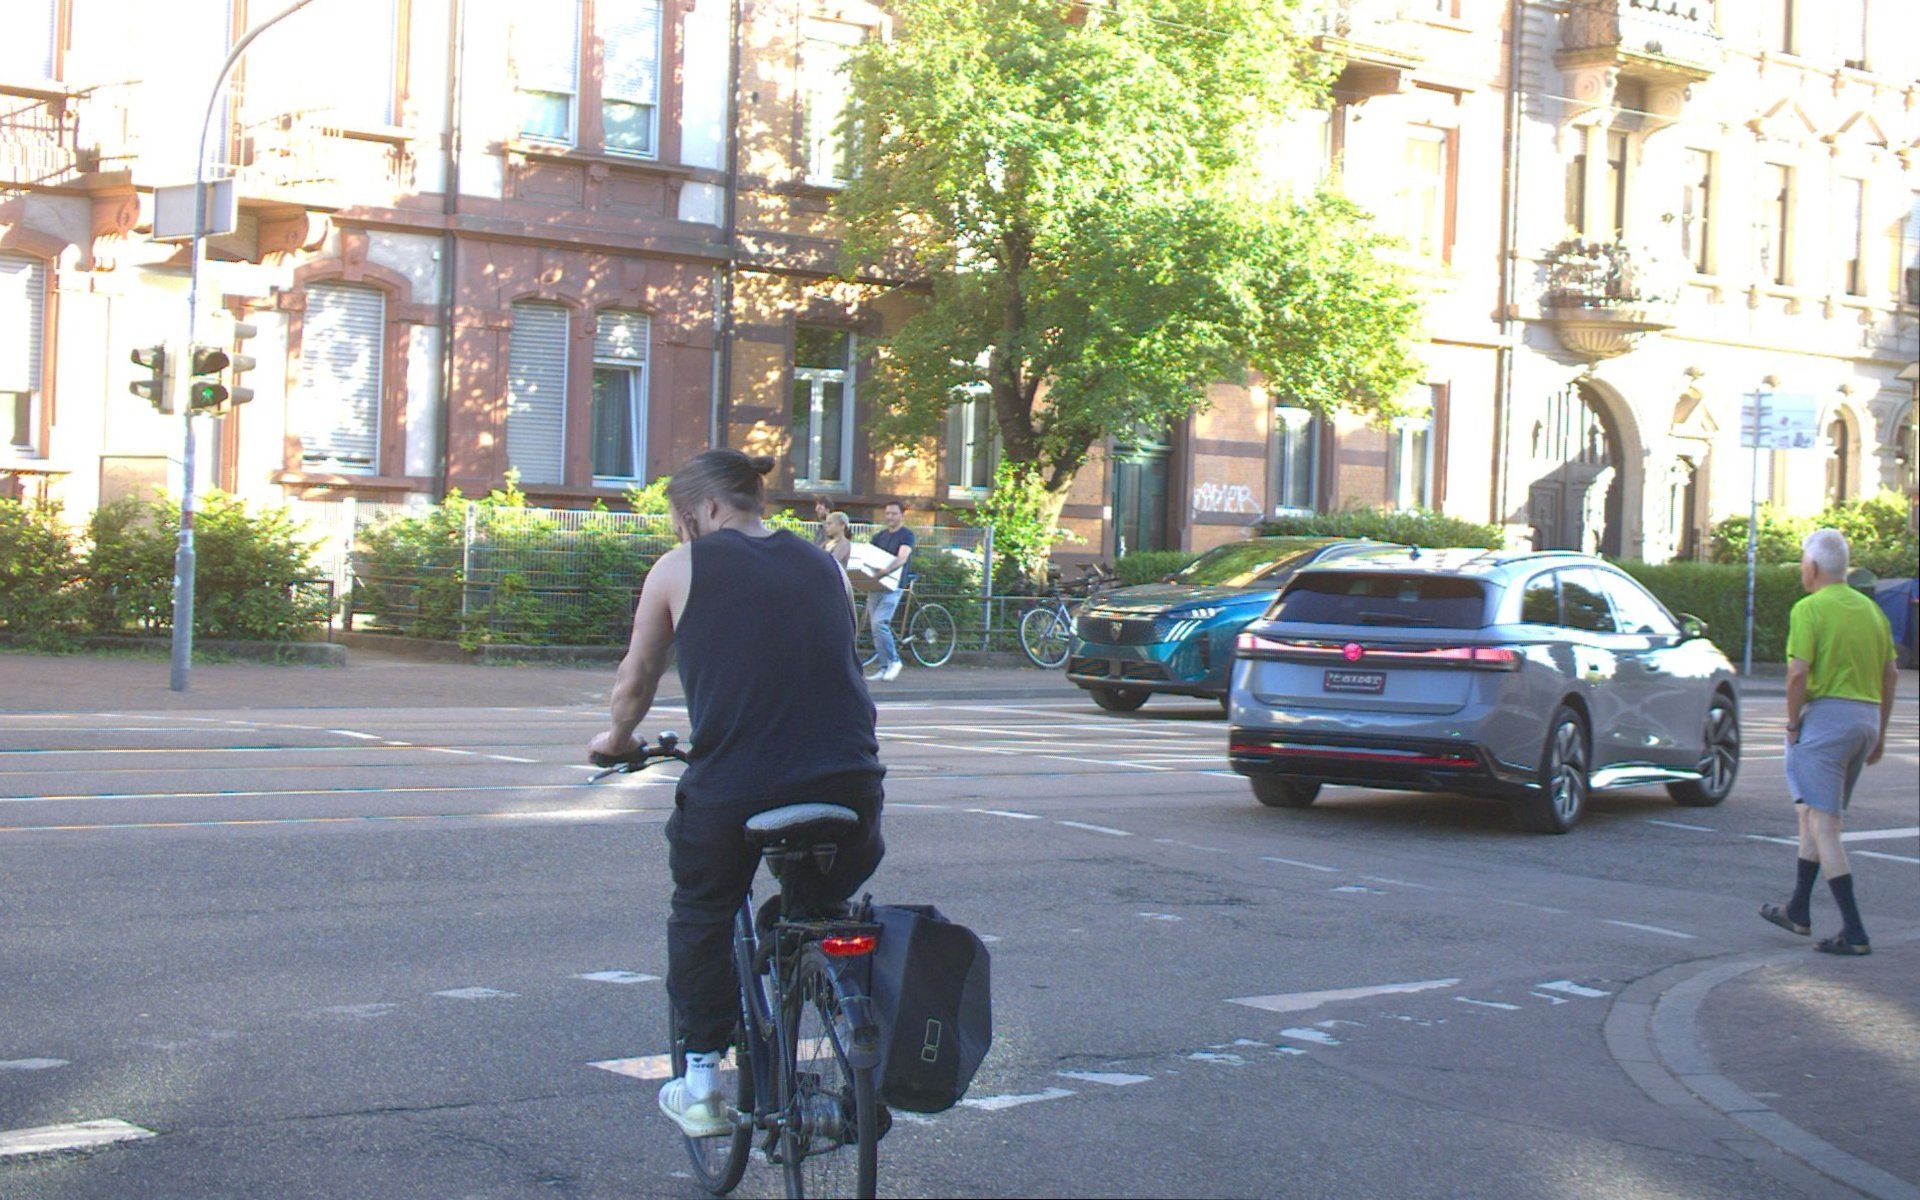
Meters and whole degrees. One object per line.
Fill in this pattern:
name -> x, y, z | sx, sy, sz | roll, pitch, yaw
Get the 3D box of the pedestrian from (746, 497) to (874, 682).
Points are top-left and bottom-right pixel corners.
pedestrian -> -1.416, -0.098, 32.344 | 0.895, 1.659, 0.712 | 2, 4, -26

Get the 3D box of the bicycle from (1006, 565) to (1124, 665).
bicycle -> 1.141, 0.166, 37.239 | 1.230, 1.035, 0.443 | 1, 2, -39

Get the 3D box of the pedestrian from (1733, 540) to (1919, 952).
pedestrian -> 3.745, 0.604, 14.823 | 0.643, 1.721, 0.888 | 0, 1, 1

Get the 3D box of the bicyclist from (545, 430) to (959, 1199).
bicyclist -> -0.473, 0.483, 7.430 | 0.686, 1.650, 0.990 | 1, 1, -14

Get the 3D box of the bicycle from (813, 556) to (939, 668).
bicycle -> -0.868, 0.128, 35.590 | 1.230, 1.103, 0.443 | 2, 2, -38

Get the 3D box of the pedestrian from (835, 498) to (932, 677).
pedestrian -> -0.754, -0.123, 33.607 | 0.634, 1.709, 0.664 | 2, 1, -30

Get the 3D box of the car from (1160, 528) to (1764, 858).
car -> 3.093, 0.485, 20.300 | 1.973, 1.580, 4.467 | 5, 2, 29

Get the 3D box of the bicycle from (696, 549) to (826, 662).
bicycle -> -2.008, 0.059, 34.743 | 1.230, 1.103, 0.443 | 1, 2, -38

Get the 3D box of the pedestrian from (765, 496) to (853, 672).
pedestrian -> -1.495, -0.160, 34.015 | 0.634, 1.709, 0.521 | 2, 1, -30

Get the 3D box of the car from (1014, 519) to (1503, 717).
car -> 2.783, 0.178, 31.416 | 4.398, 1.644, 1.948 | 1, 1, -43
